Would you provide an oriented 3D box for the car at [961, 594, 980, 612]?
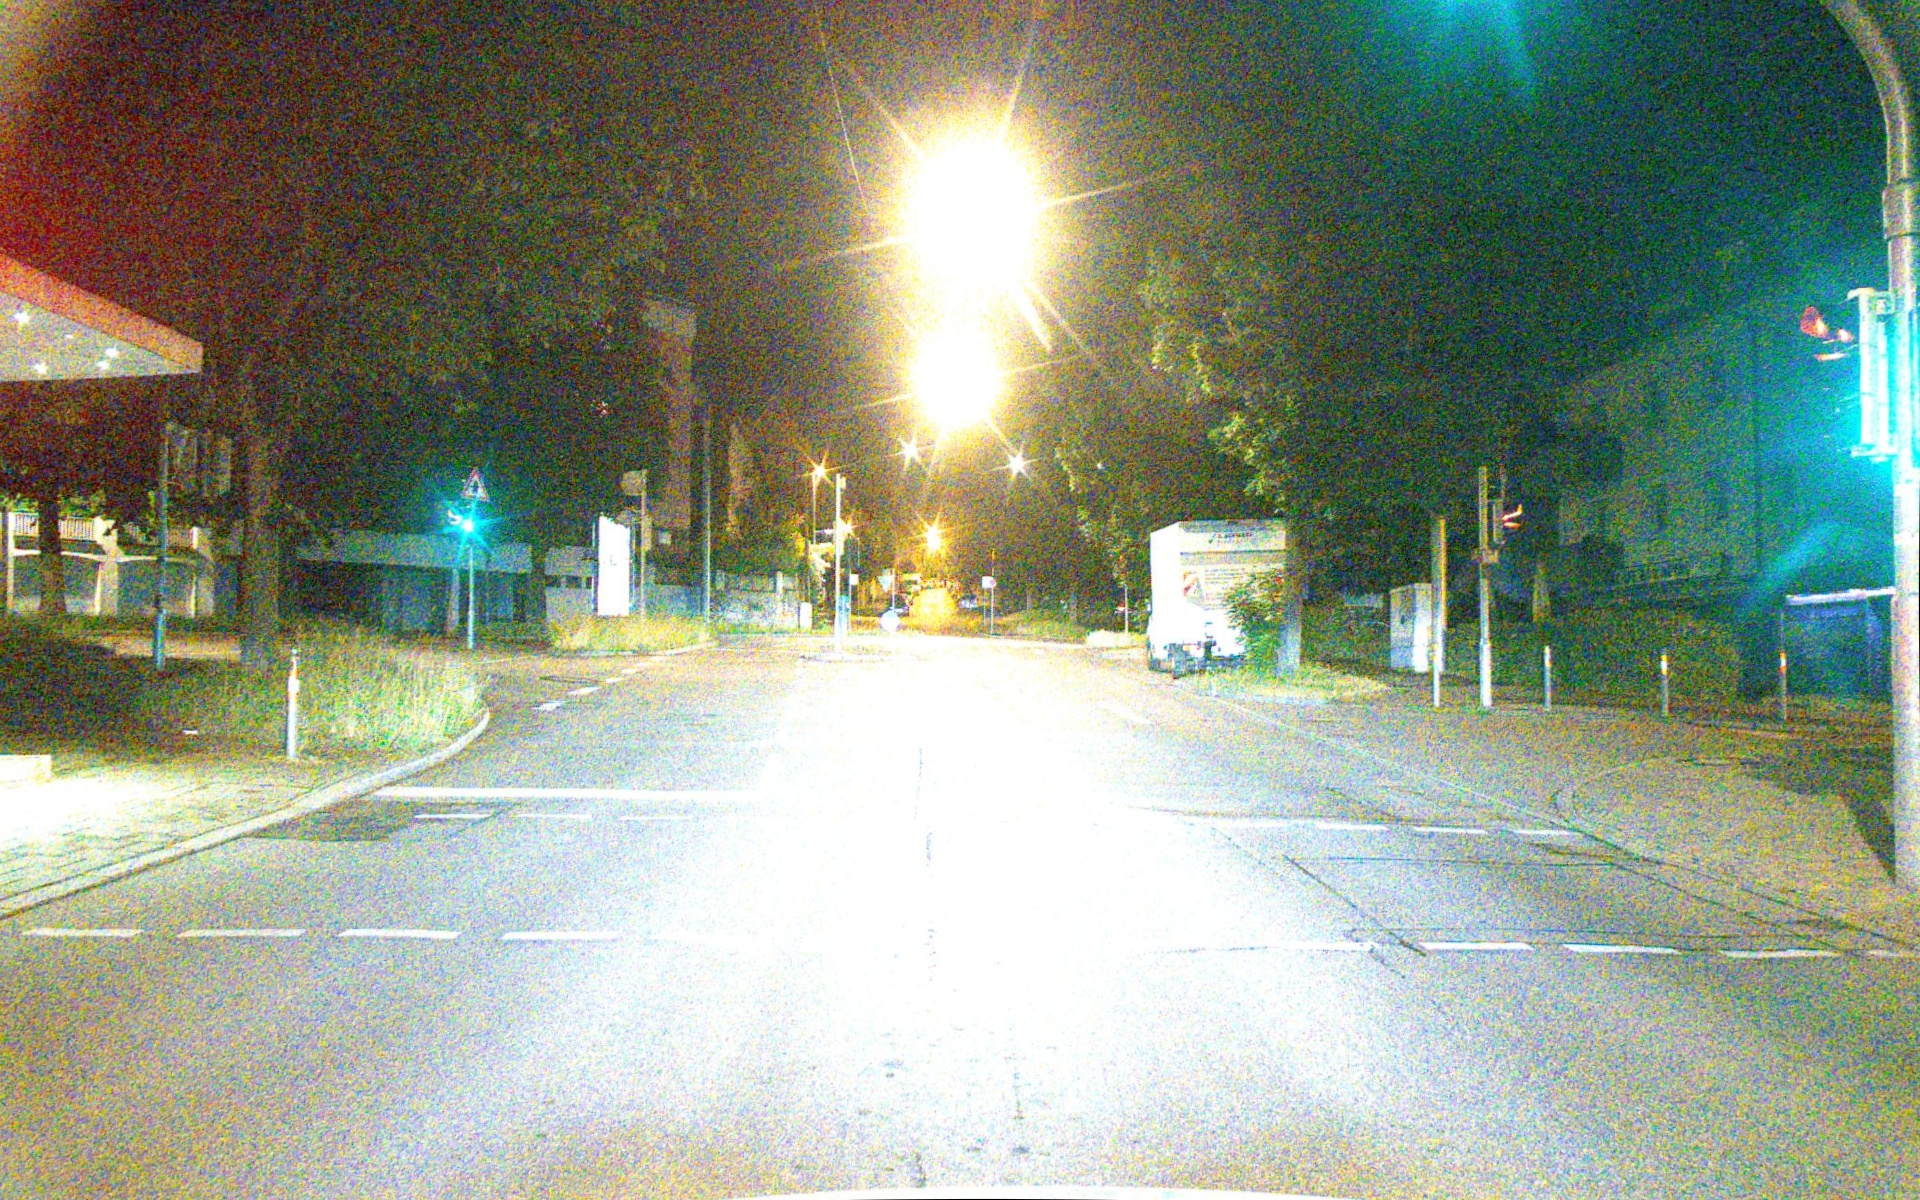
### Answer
[{"bbox_3d":[0.888,0.255,143.360,1.601,1.477,3.484,1,0,-1],"label":"car"}]

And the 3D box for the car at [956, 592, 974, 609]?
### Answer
[{"bbox_3d":[0.427,0.027,153.089,1.601,1.477,3.484,1,0,-1],"label":"car"}]

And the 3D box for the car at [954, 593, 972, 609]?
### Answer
[{"bbox_3d":[0.272,0.062,159.271,1.601,1.477,3.484,1,0,-1],"label":"car"}]

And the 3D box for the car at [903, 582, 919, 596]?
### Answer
[{"bbox_3d":[-5.517,-1.250,186.875,1.779,1.517,3.998,1,0,-2],"label":"car"}]

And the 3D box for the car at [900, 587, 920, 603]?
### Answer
[{"bbox_3d":[-4.866,-0.479,160.491,1.779,1.517,3.998,1,0,-2],"label":"car"}]

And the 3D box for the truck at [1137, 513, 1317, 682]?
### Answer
[{"bbox_3d":[5.430,-0.058,34.694,2.693,3.165,6.257,1,0,0],"label":"truck"}]

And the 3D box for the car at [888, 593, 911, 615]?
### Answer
[{"bbox_3d":[-4.888,0.329,134.357,1.778,1.713,3.999,1,0,-1],"label":"car"}]

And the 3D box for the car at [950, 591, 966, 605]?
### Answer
[{"bbox_3d":[-0.250,-0.214,178.505,1.601,1.477,3.484,1,0,-1],"label":"car"}]

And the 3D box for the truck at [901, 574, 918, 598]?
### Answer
[{"bbox_3d":[-6.417,-1.755,209.499,2.044,2.897,5.828,1,0,-2],"label":"truck"}]

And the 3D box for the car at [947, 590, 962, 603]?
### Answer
[{"bbox_3d":[-0.643,-0.414,191.471,1.601,1.477,3.484,1,0,-1],"label":"car"}]
